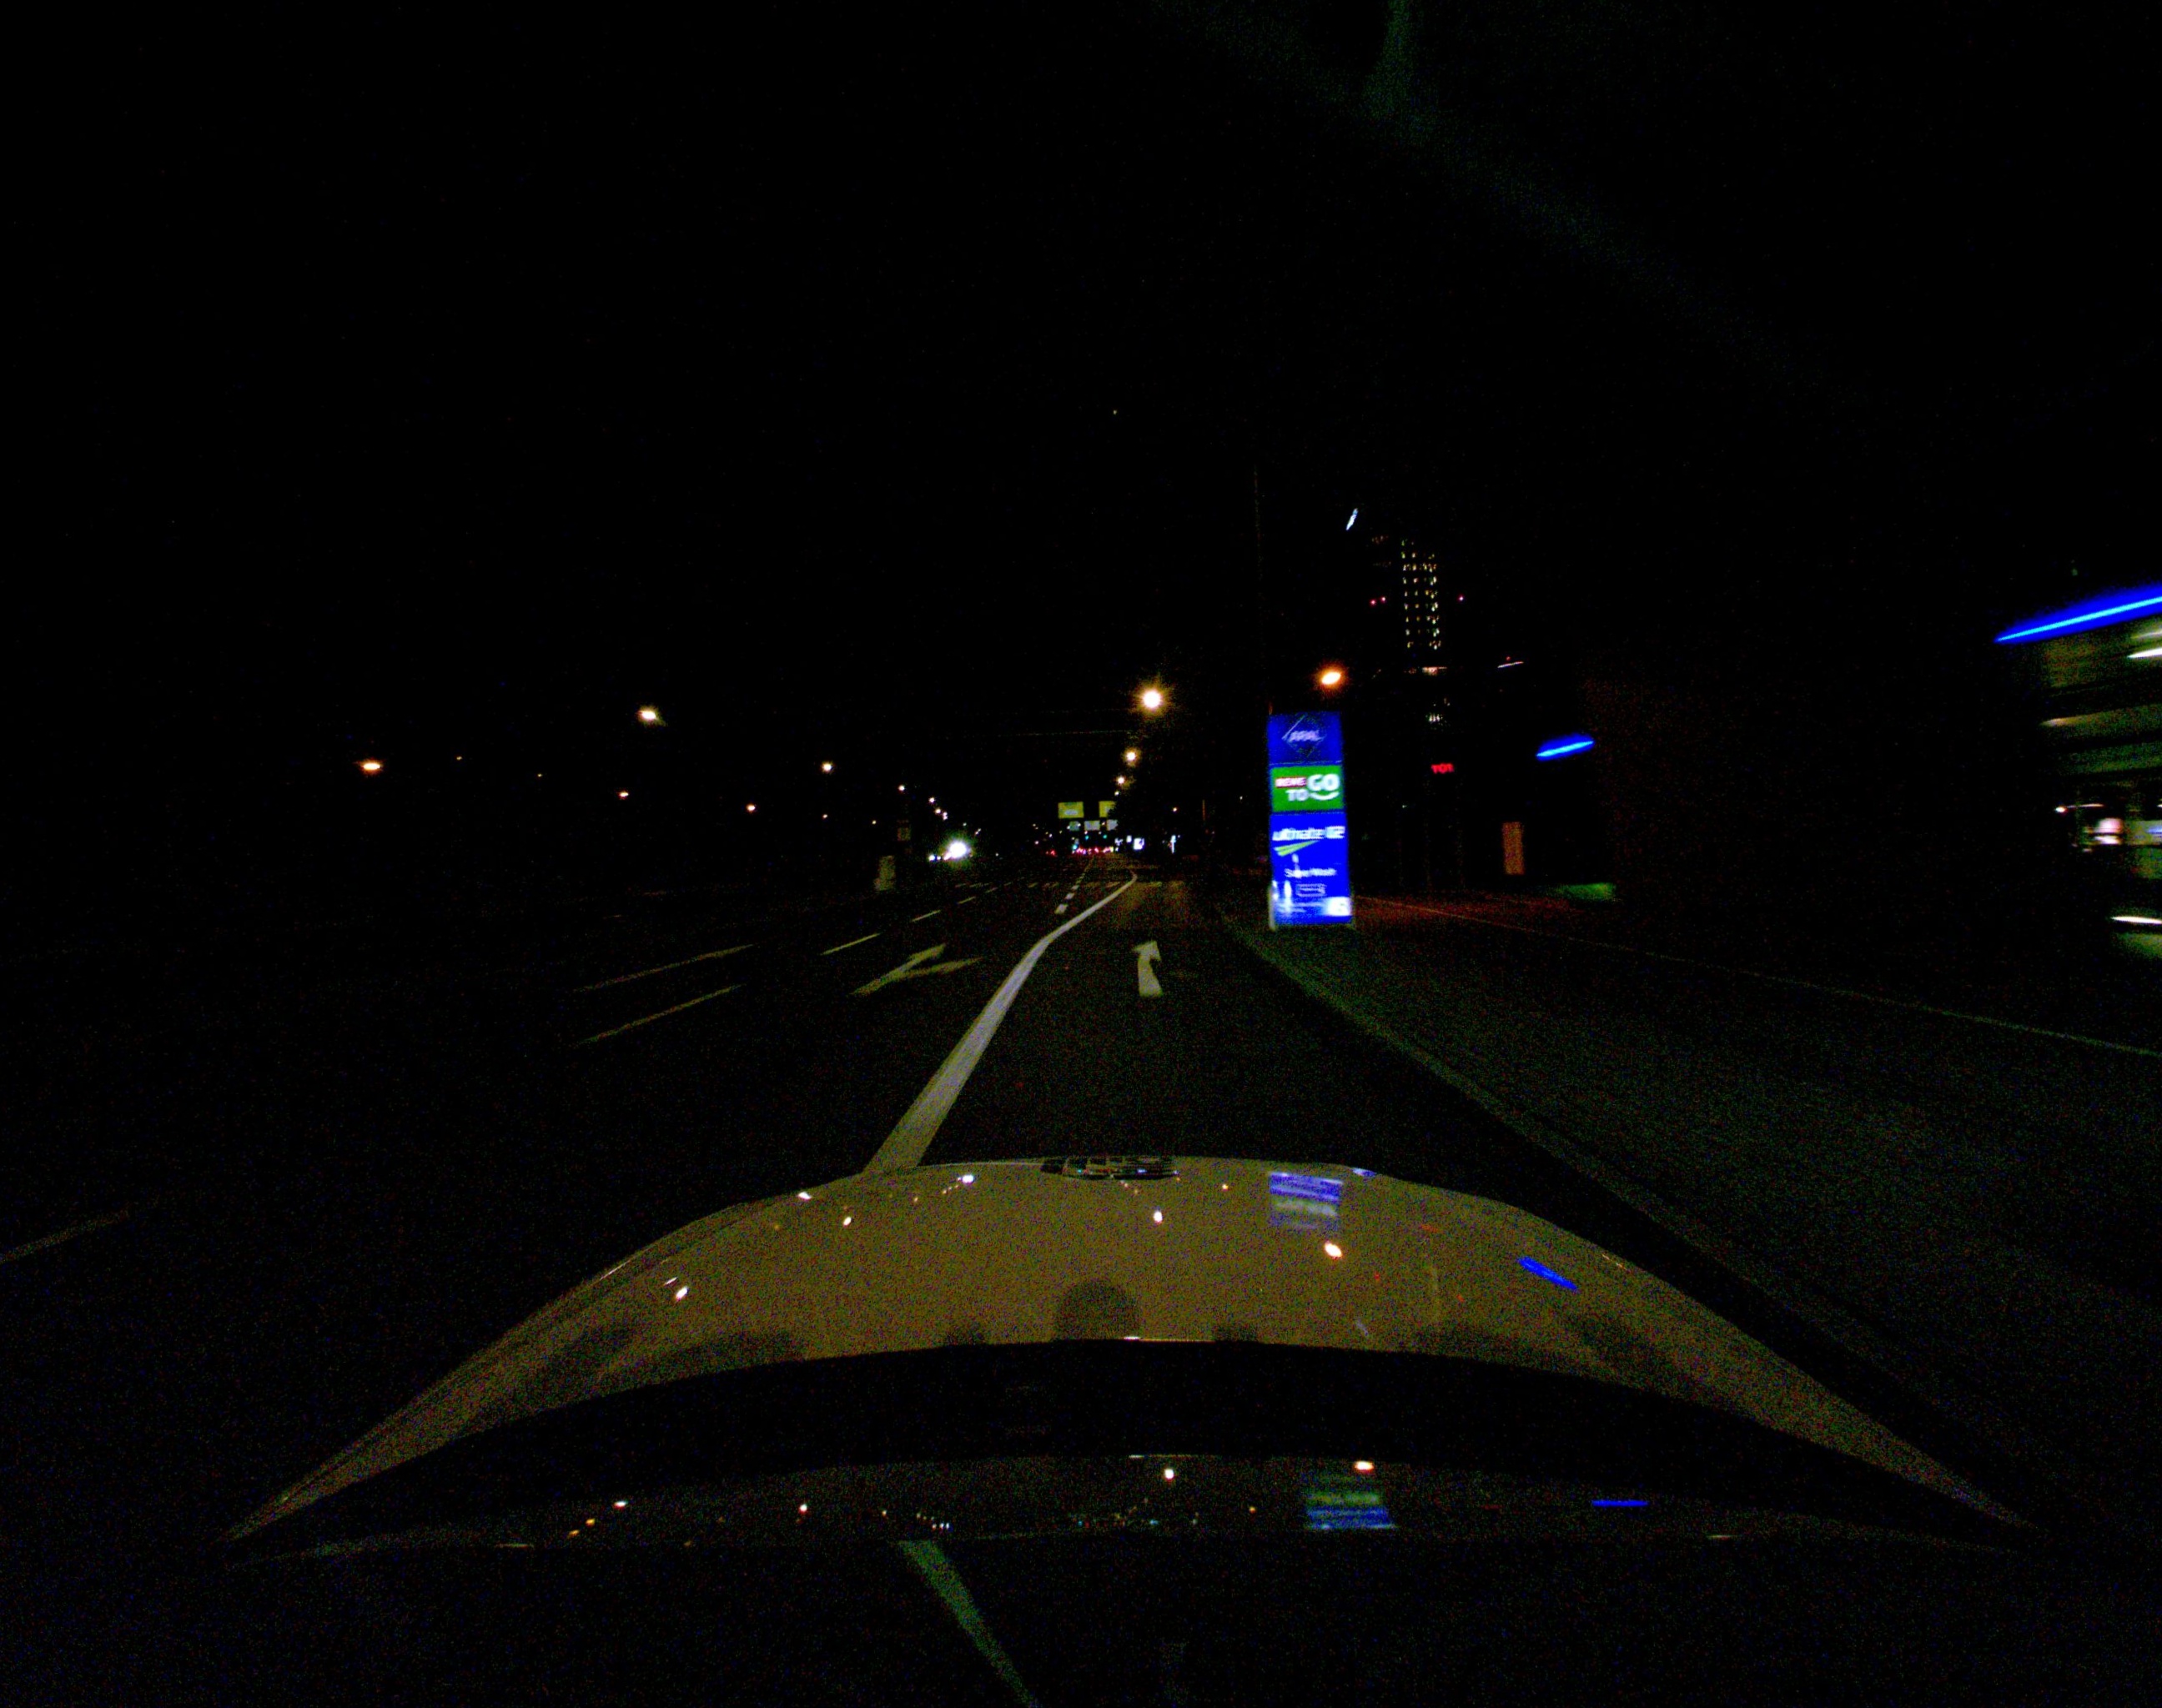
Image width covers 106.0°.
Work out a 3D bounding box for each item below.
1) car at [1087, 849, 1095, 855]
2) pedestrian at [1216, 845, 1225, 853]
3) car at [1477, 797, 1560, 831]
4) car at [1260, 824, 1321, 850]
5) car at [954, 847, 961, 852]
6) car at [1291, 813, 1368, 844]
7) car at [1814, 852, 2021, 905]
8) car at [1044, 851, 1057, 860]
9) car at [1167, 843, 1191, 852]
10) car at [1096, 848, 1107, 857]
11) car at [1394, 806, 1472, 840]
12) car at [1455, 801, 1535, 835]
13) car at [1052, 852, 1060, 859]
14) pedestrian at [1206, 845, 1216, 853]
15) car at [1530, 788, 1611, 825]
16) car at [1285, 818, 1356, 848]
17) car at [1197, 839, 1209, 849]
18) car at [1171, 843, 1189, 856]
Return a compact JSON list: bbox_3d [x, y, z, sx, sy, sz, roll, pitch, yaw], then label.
[{"bbox_3d":[2.631,-0.621,217.987,1.996,1.552,4.299,0,-1,4],"label":"car"},{"bbox_3d":[17.964,-0.696,104.752,0.999,1.008,0.768,0,-1,-14],"label":"pedestrian"},{"bbox_3d":[29.784,-2.709,55.506,4.564,1.910,1.999,-3,-1,-2],"label":"car"},{"bbox_3d":[14.607,-1.172,56.813,3.713,1.489,1.741,-4,-1,-1],"label":"car"},{"bbox_3d":[-38.798,-1.560,256.468,1.619,1.481,3.681,0,-1,2],"label":"car"},{"bbox_3d":[14.978,-1.540,49.277,4.103,1.522,1.823,-3,-2,2],"label":"car"},{"bbox_3d":[23.909,0.680,23.514,1.650,1.359,4.062,-1,-1,-4],"label":"car"},{"bbox_3d":[-6.626,0.355,175.266,1.972,1.711,3.977,0,-1,-17],"label":"car"},{"bbox_3d":[15.952,-1.077,132.415,3.615,1.451,1.706,0,-1,-3],"label":"car"},{"bbox_3d":[4.147,-0.280,164.227,1.959,1.711,4.003,0,-1,4],"label":"car"},{"bbox_3d":[23.378,-2.034,54.231,4.341,1.725,1.753,-5,-1,3],"label":"car"},{"bbox_3d":[23.652,-2.030,46.612,3.624,1.470,1.639,-5,-2,5],"label":"car"},{"bbox_3d":[-6.151,0.449,197.525,1.779,1.711,3.994,0,-1,-4],"label":"car"},{"bbox_3d":[16.772,-0.672,104.819,0.902,1.038,0.776,-3,-1,44],"label":"pedestrian"},{"bbox_3d":[29.485,-2.851,49.152,3.799,1.895,1.751,-3,-1,-2],"label":"car"},{"bbox_3d":[15.283,-1.346,52.033,3.971,1.571,1.739,-4,-1,2],"label":"car"},{"bbox_3d":[20.100,-1.619,133.894,1.882,1.511,3.644,0,-1,8],"label":"car"},{"bbox_3d":[15.441,-0.691,127.254,1.977,1.945,4.019,-1,-1,19],"label":"car"}]
